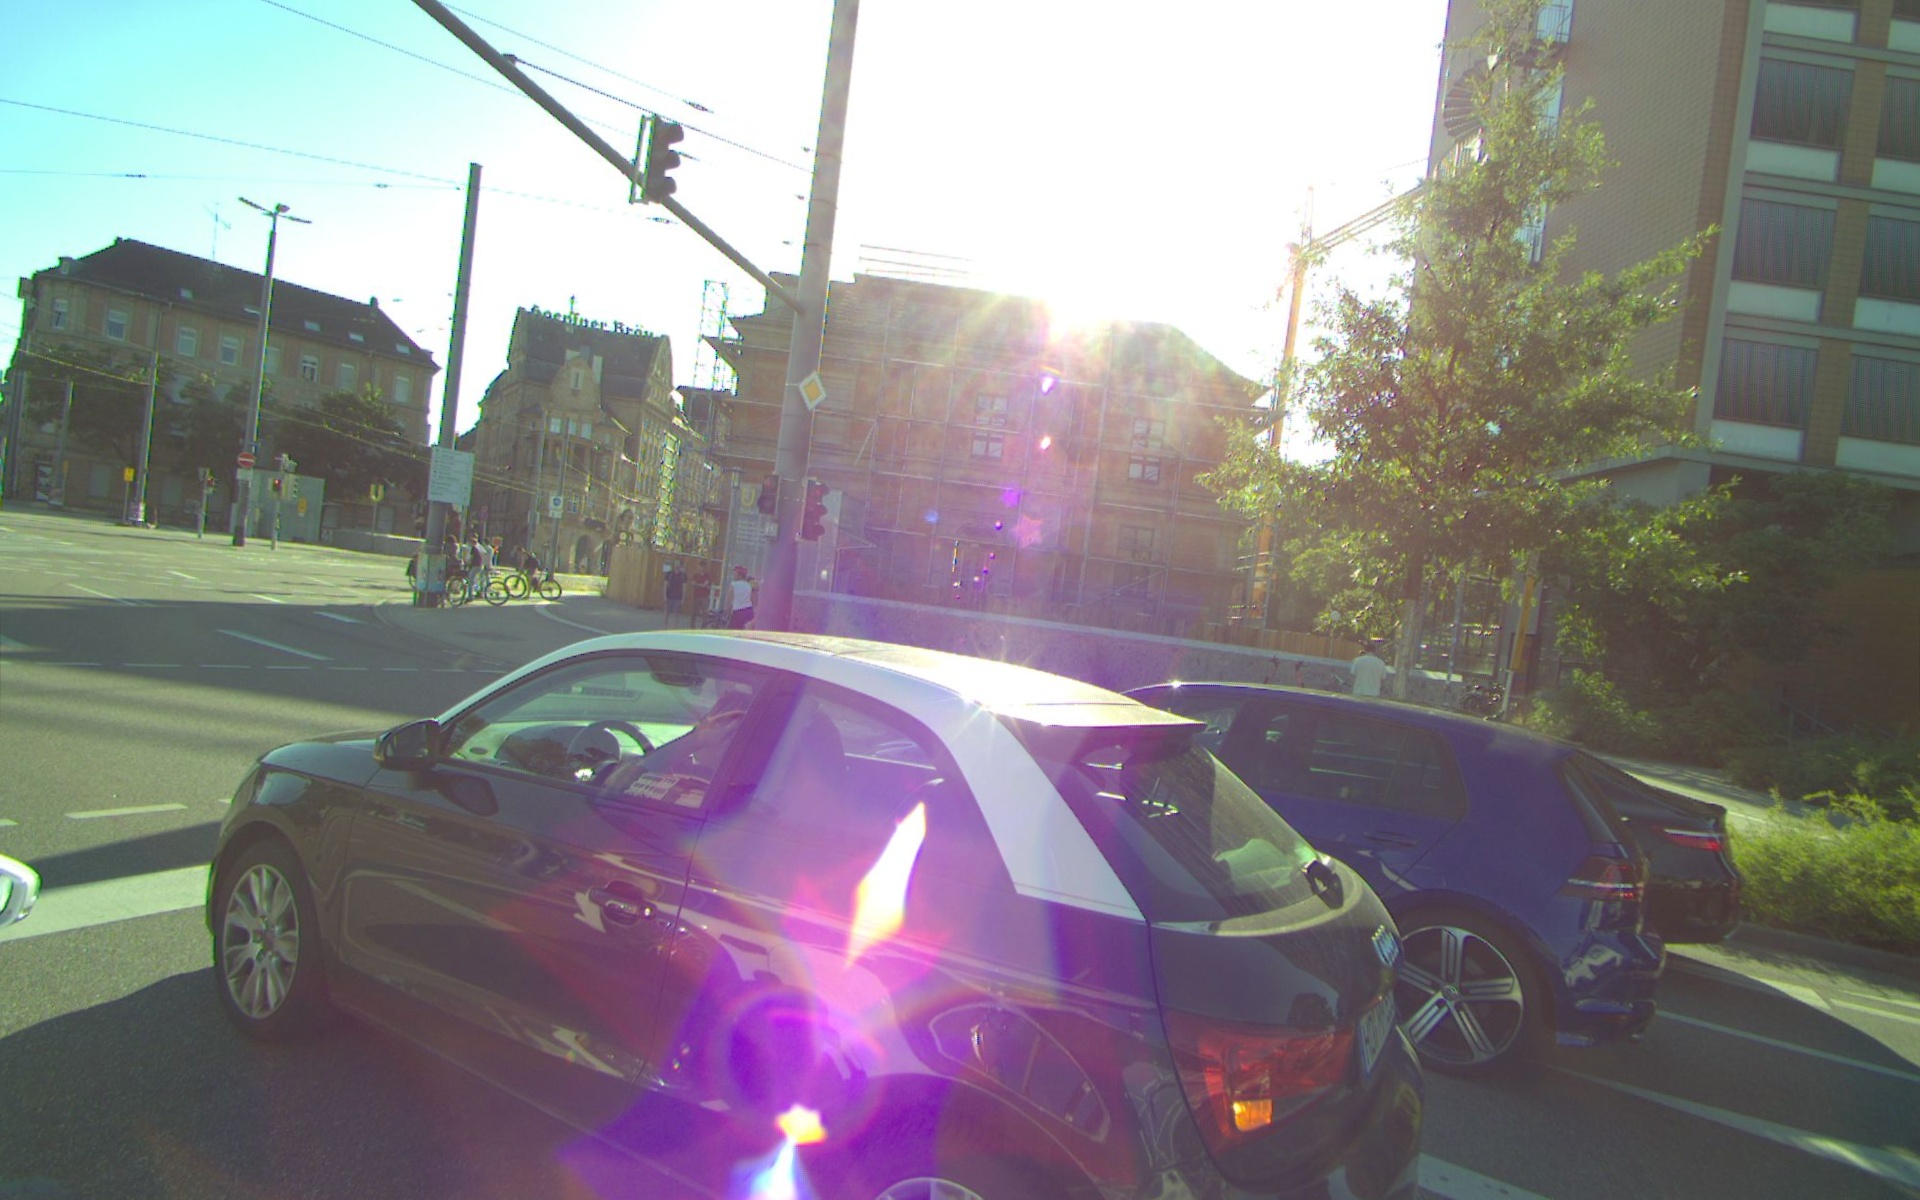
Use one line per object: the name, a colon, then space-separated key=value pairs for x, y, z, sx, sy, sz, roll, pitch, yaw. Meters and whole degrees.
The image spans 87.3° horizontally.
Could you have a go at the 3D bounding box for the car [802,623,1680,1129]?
car: x=1.265 y=1.097 z=5.359 sx=3.934 sy=1.420 sz=1.627 roll=6 pitch=-2 yaw=32

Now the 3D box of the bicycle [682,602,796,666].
bicycle: x=-4.337 y=0.661 z=19.793 sx=1.997 sy=0.976 sz=0.660 roll=7 pitch=2 yaw=5

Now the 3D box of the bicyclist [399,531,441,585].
bicyclist: x=-16.867 y=-1.307 z=31.410 sx=0.930 sy=1.575 sz=0.516 roll=7 pitch=-1 yaw=24

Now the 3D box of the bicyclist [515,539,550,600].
bicyclist: x=-13.425 y=-0.950 z=31.615 sx=0.785 sy=1.800 sz=0.520 roll=8 pitch=-1 yaw=-23

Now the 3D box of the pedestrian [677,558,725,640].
pedestrian: x=-6.176 y=-0.014 z=23.983 sx=0.672 sy=1.828 sz=0.672 roll=7 pitch=-1 yaw=11

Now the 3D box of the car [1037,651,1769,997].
car: x=3.012 y=1.399 z=7.543 sx=4.436 sy=1.420 sz=1.727 roll=6 pitch=-2 yaw=31

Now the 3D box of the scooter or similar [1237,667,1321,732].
scooter or similar: x=5.910 y=1.832 z=18.647 sx=1.348 sy=1.007 sz=0.342 roll=7 pitch=-1 yaw=25

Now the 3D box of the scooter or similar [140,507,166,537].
scooter or similar: x=-42.063 y=-4.074 z=52.423 sx=0.784 sy=1.392 sz=1.885 roll=8 pitch=-2 yaw=-44

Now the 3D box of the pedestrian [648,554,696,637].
pedestrian: x=-6.673 y=-0.106 z=23.325 sx=0.672 sy=1.830 sz=0.672 roll=7 pitch=2 yaw=11

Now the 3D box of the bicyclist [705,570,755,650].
bicyclist: x=-4.522 y=0.210 z=19.807 sx=0.661 sy=1.471 sz=0.618 roll=7 pitch=-1 yaw=3

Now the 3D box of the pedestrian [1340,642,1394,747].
pedestrian: x=6.856 y=1.567 z=16.941 sx=0.592 sy=1.662 sz=0.677 roll=7 pitch=3 yaw=29

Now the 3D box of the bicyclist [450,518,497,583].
bicyclist: x=-12.956 y=-1.308 z=26.807 sx=0.936 sy=1.575 sz=0.705 roll=8 pitch=-1 yaw=-28

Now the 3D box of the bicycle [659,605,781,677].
bicycle: x=-4.141 y=0.693 z=17.302 sx=1.999 sy=0.974 sz=0.660 roll=6 pitch=-1 yaw=27

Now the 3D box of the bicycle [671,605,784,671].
bicycle: x=-4.301 y=0.683 z=18.552 sx=1.999 sy=0.976 sz=0.659 roll=6 pitch=2 yaw=27

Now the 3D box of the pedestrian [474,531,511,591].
pedestrian: x=-16.012 y=-1.334 z=34.443 sx=0.678 sy=1.945 sz=0.649 roll=7 pitch=-1 yaw=25

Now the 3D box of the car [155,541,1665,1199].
car: x=-0.472 y=0.772 z=2.957 sx=3.934 sy=1.420 sz=1.627 roll=6 pitch=-2 yaw=32

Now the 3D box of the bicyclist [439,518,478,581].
bicyclist: x=-12.629 y=-1.254 z=25.322 sx=0.702 sy=1.456 sz=0.940 roll=8 pitch=-1 yaw=-29

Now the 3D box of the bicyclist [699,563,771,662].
bicyclist: x=-3.841 y=0.216 z=17.191 sx=0.781 sy=1.571 sz=0.668 roll=7 pitch=-1 yaw=27

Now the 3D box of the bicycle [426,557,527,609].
bicycle: x=-12.913 y=-0.438 z=26.893 sx=2.294 sy=1.061 sz=0.696 roll=9 pitch=-2 yaw=-28

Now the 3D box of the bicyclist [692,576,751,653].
bicyclist: x=-4.408 y=0.271 z=18.624 sx=0.662 sy=1.330 sz=0.617 roll=7 pitch=-1 yaw=27

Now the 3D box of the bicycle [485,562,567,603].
bicycle: x=-13.587 y=-0.532 z=31.557 sx=2.289 sy=1.063 sz=0.532 roll=5 pitch=2 yaw=-25

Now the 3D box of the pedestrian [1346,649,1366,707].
pedestrian: x=12.301 y=2.417 z=31.269 sx=0.369 sy=1.752 sz=0.444 roll=7 pitch=-1 yaw=17

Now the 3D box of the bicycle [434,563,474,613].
bicycle: x=-12.717 y=-0.318 z=25.244 sx=0.693 sy=1.061 sz=2.303 roll=9 pitch=-1 yaw=-29

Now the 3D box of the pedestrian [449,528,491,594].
pedestrian: x=-16.310 y=-1.299 z=33.519 sx=0.748 sy=2.037 sz=0.733 roll=7 pitch=-1 yaw=25

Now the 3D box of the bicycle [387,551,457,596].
bicycle: x=-16.768 y=-0.829 z=31.340 sx=2.278 sy=1.061 sz=0.536 roll=8 pitch=-1 yaw=24

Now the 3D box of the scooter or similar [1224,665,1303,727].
scooter or similar: x=5.861 y=1.848 z=19.468 sx=1.346 sy=1.007 sz=0.343 roll=7 pitch=-1 yaw=13
